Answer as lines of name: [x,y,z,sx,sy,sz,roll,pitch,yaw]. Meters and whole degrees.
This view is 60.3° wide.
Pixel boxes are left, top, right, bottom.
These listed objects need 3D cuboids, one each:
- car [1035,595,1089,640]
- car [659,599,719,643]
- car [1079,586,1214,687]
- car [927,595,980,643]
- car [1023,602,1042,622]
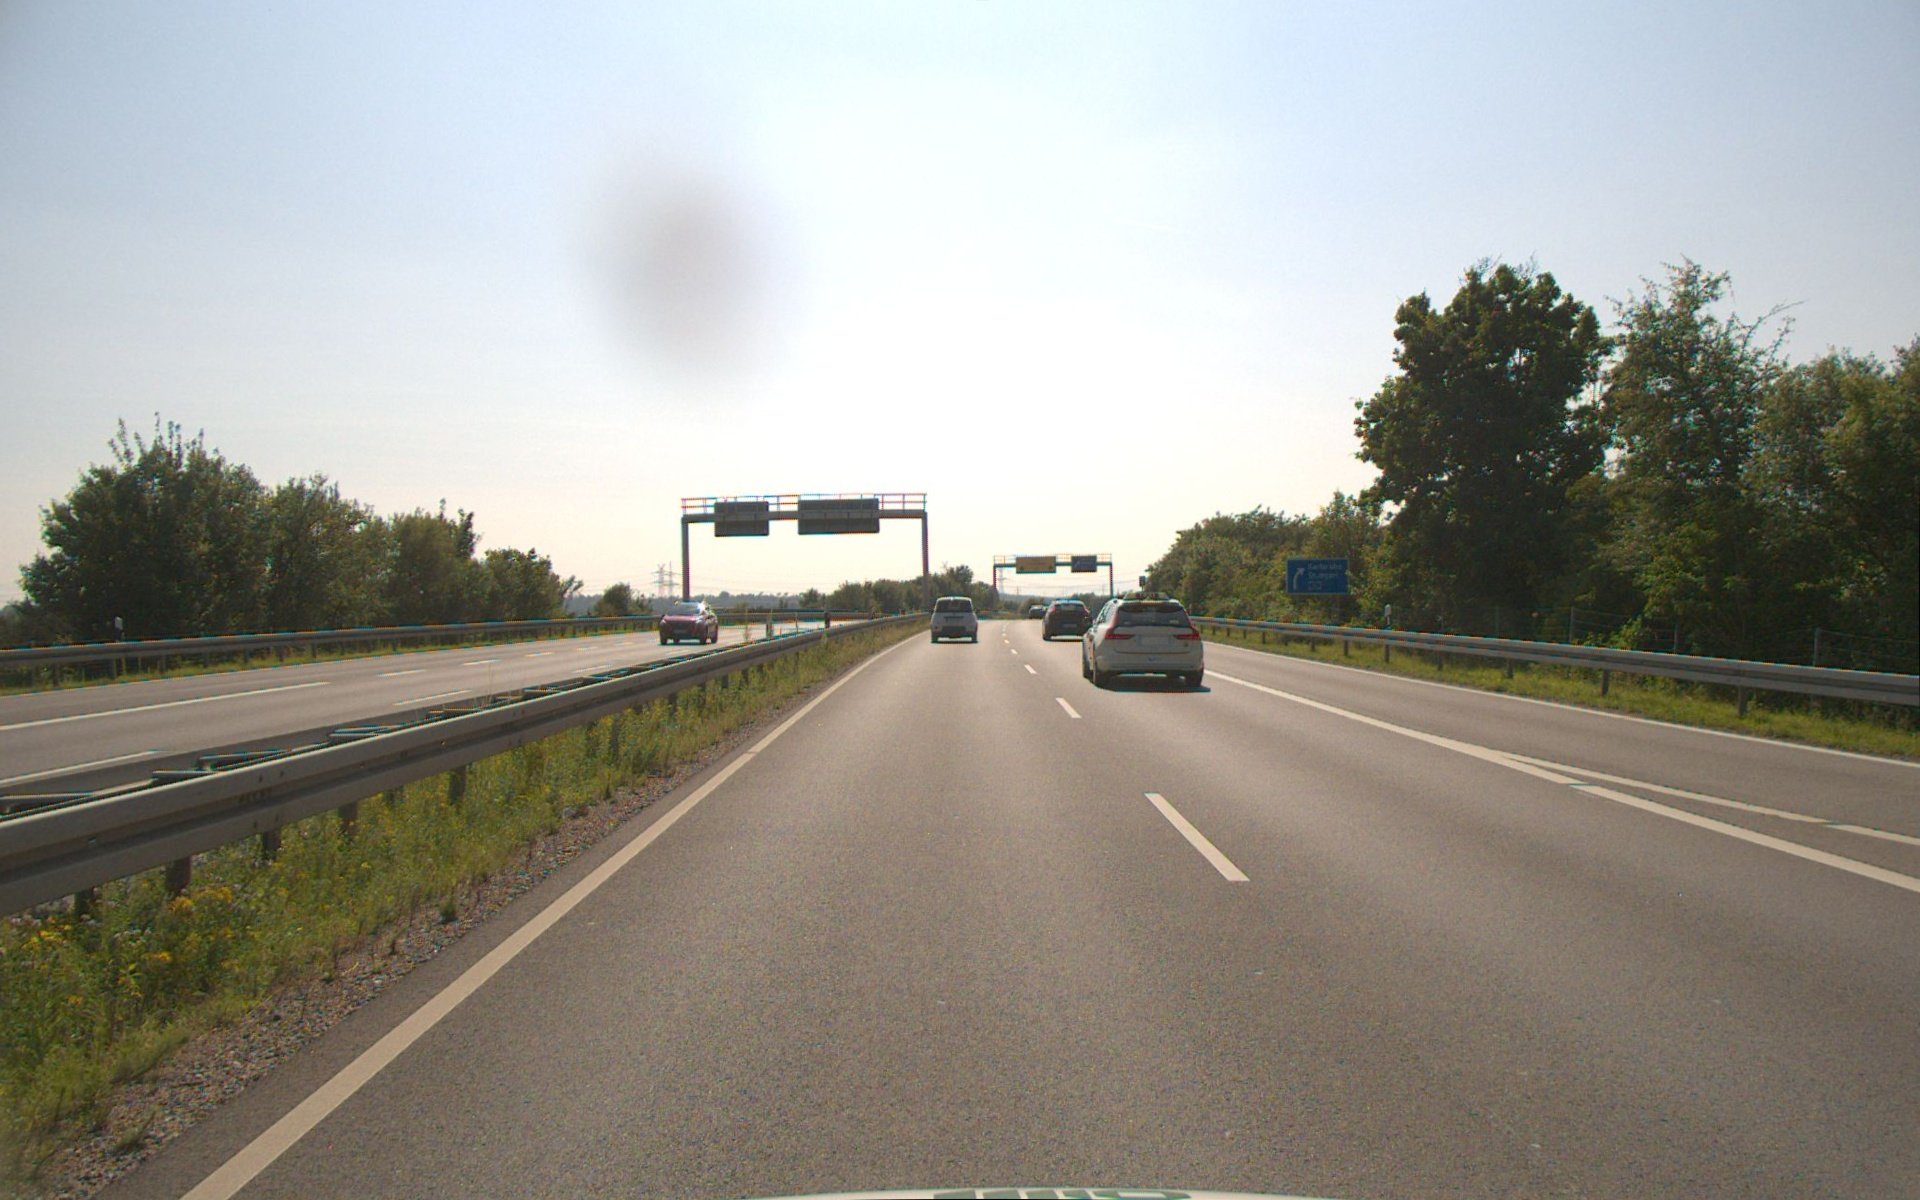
car: [3.695,0.654,60.492,1.756,1.570,3.671,0,-1,0]
car: [-10.182,0.768,62.335,1.609,1.602,4.263,1,0,-1]
car: [3.202,0.602,29.140,1.918,1.629,4.107,1,0,0]
car: [-0.253,0.703,58.191,1.757,1.530,4.042,-2,-2,-1]
car: [7.774,1.251,176.642,1.952,2.049,4.001,1,0,2]
